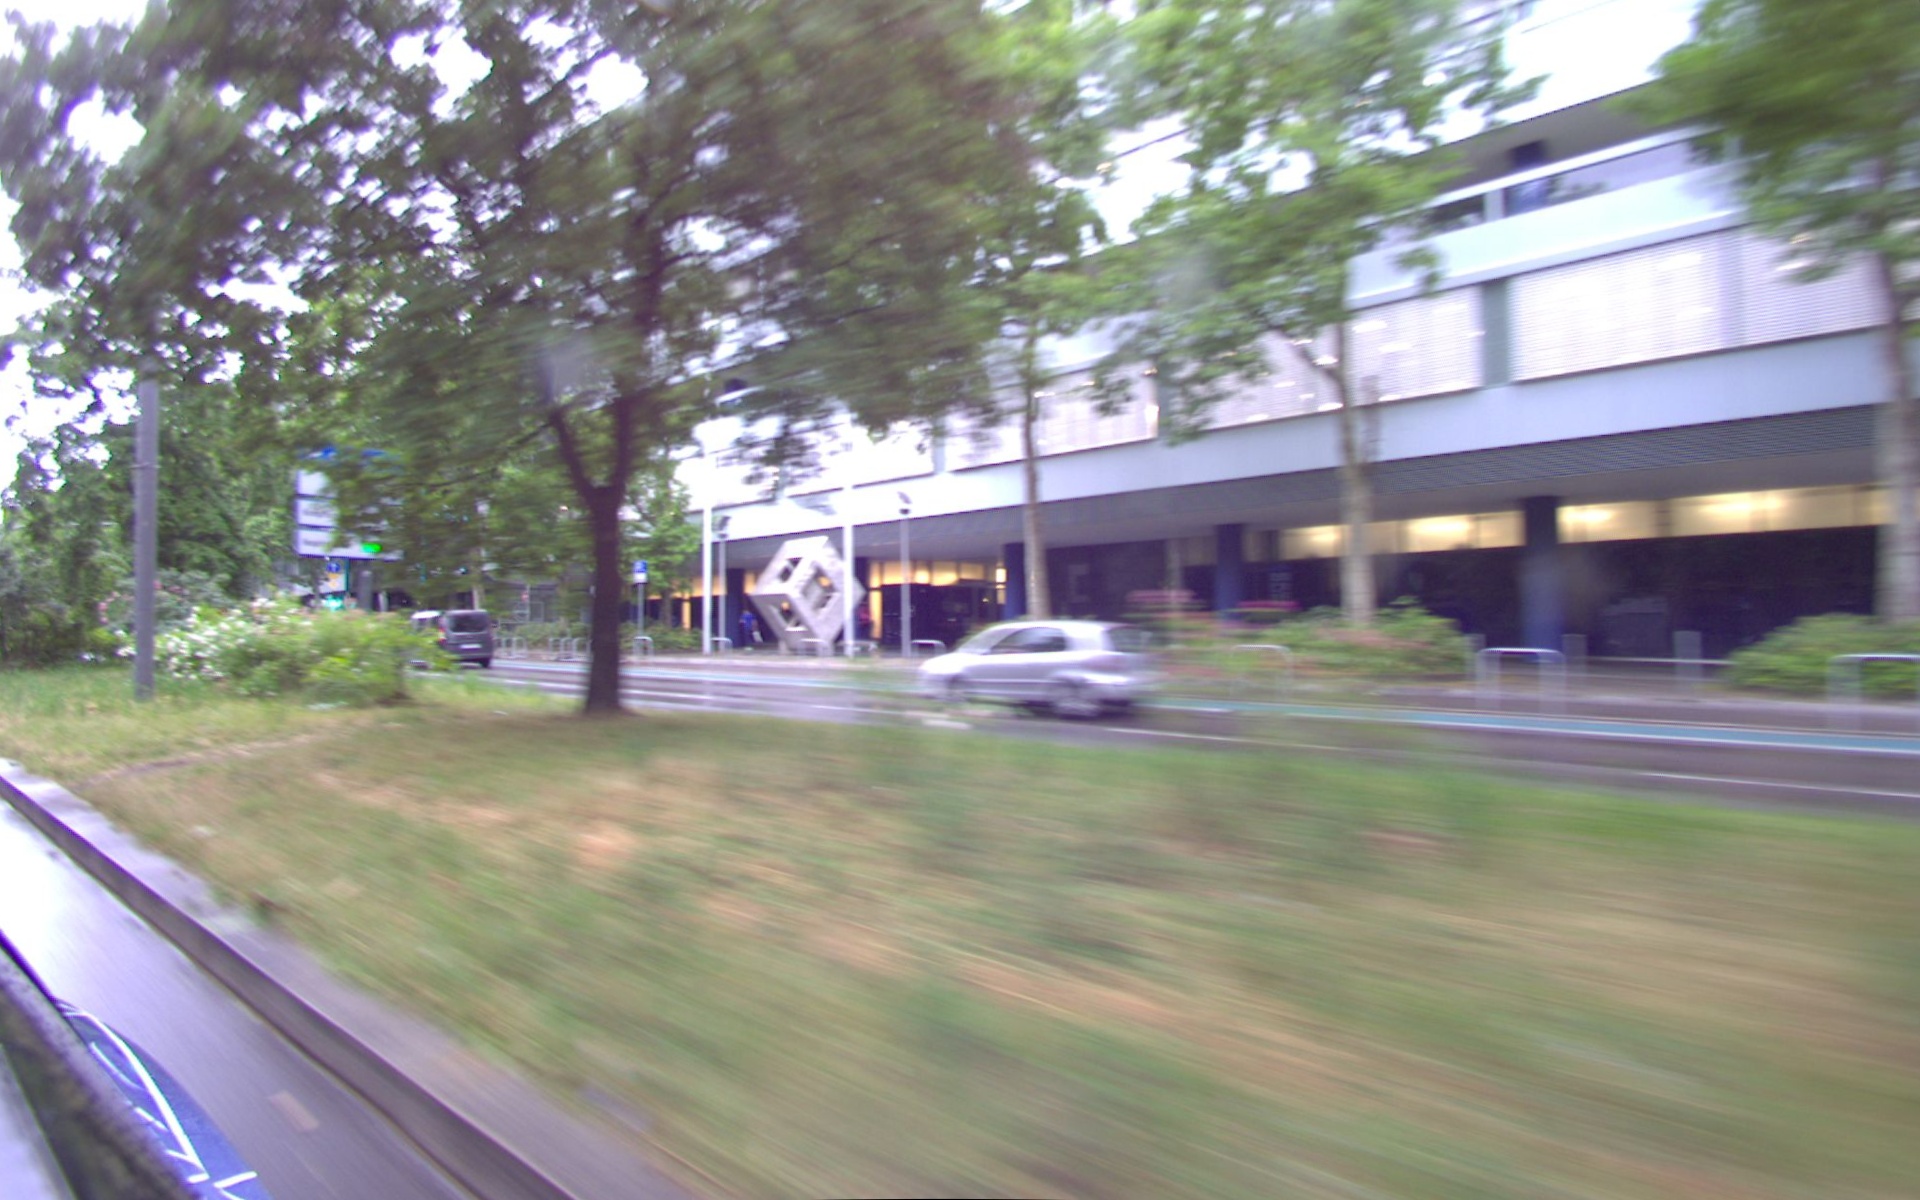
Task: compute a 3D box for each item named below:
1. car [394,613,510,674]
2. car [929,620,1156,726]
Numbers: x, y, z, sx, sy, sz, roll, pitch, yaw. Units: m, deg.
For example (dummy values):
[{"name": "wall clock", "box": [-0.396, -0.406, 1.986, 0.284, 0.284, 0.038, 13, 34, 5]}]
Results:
[{"name": "car", "box": [-16.284, 1.360, 32.346, 4.282, 1.815, 1.971, -2, -3, 43]}, {"name": "car", "box": [1.182, 1.068, 15.662, 3.560, 1.474, 1.148, -2, -3, 43]}]
